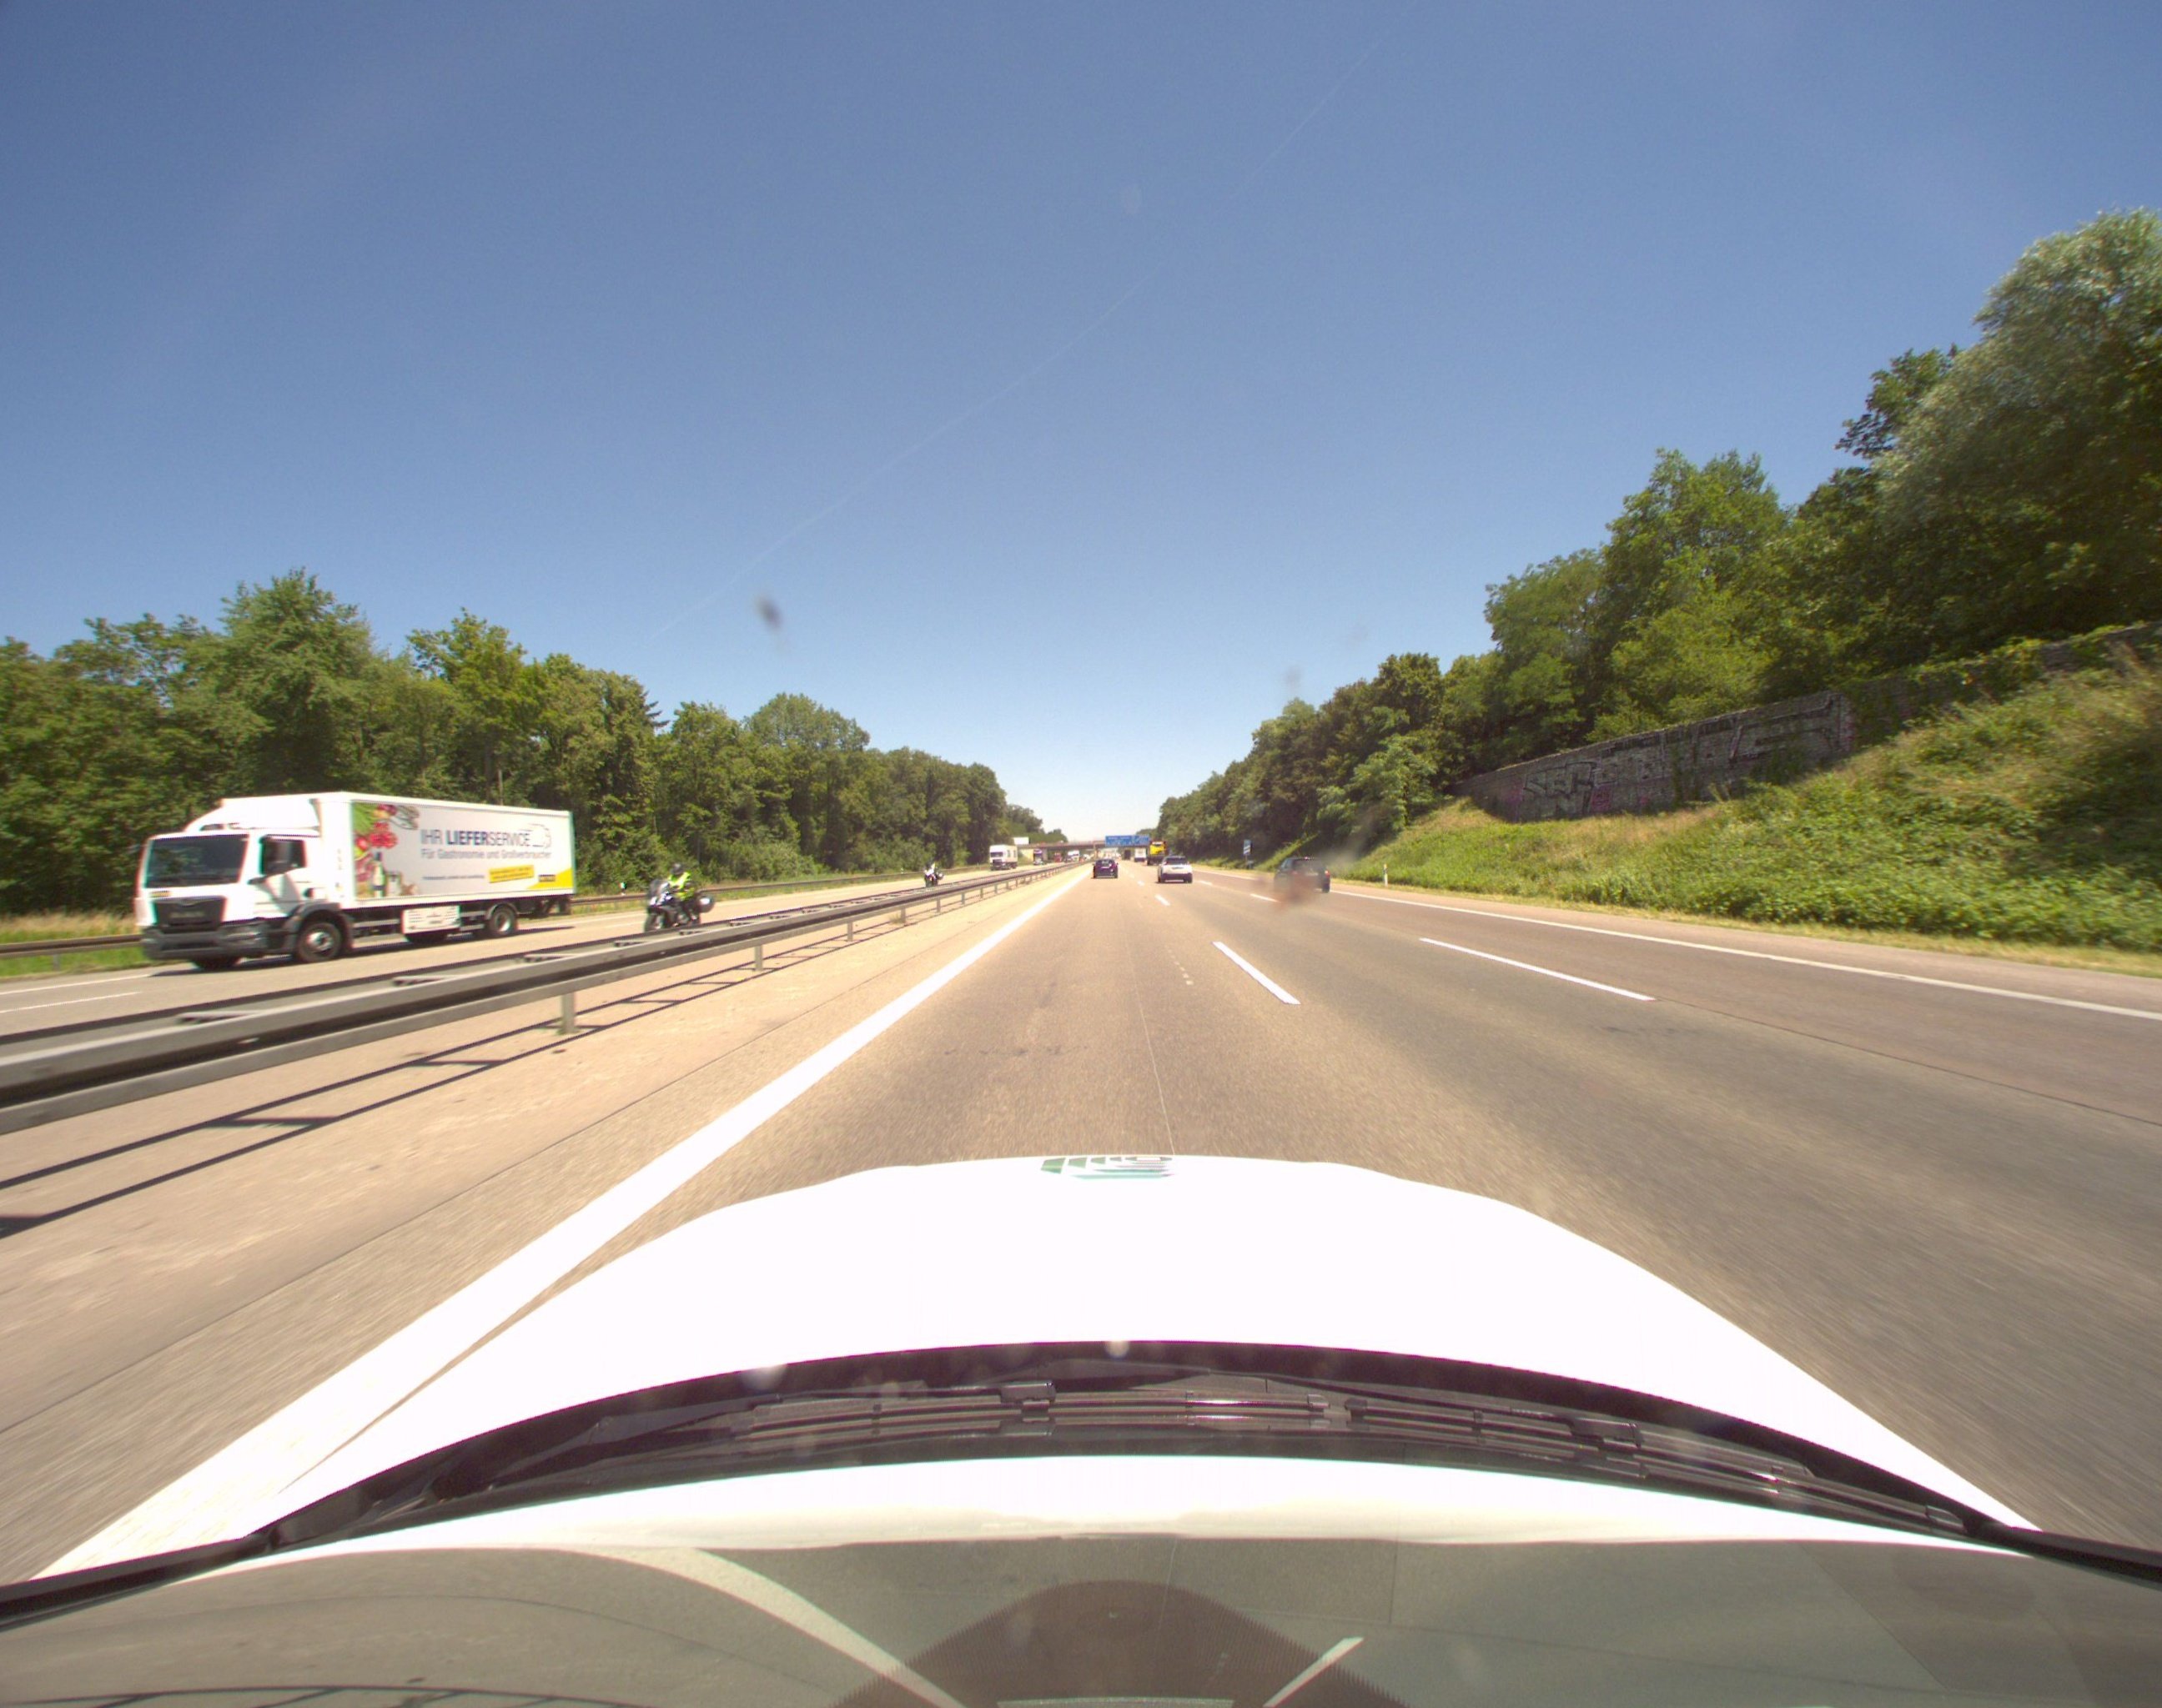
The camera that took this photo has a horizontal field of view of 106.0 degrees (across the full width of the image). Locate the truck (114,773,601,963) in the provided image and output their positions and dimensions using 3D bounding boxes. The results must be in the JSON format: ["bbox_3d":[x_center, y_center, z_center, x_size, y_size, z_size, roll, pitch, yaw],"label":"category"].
[{"bbox_3d":[-16.892,0.313,20.746,2.983,3.619,10.274,0,-1,2],"label":"truck"}]

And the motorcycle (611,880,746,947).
[{"bbox_3d":[-8.830,1.245,18.182,1.031,1.238,3.812,0,0,2],"label":"motorcycle"}]

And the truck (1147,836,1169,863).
[{"bbox_3d":[12.301,-0.661,131.252,2.963,4.037,10.986,0,0,2],"label":"truck"}]

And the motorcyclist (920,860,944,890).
[{"bbox_3d":[-7.990,1.119,43.742,1.037,1.599,1.151,0,-1,1],"label":"motorcyclist"}]

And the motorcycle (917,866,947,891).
[{"bbox_3d":[-7.974,1.285,43.727,1.031,1.267,2.578,0,-1,2],"label":"motorcycle"}]

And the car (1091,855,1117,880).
[{"bbox_3d":[1.700,0.971,59.023,1.820,1.706,4.001,0,-1,2],"label":"car"}]

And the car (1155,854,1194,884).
[{"bbox_3d":[5.418,0.855,47.613,1.820,1.608,4.810,-1,-1,2],"label":"car"}]

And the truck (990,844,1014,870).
[{"bbox_3d":[-12.938,0.510,133.865,2.571,4.008,10.342,0,-1,2],"label":"truck"}]

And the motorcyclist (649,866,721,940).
[{"bbox_3d":[-8.817,1.069,18.183,1.037,1.599,1.151,0,-1,1],"label":"motorcyclist"}]

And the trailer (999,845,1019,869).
[{"bbox_3d":[-12.623,0.543,143.278,2.569,3.989,8.562,0,-1,2],"label":"trailer"}]

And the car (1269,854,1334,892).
[{"bbox_3d":[9.201,0.764,34.327,1.663,1.447,4.575,0,0,2],"label":"car"}]

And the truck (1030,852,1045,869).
[{"bbox_3d":[-11.072,1.600,209.484,3.311,4.341,6.615,0,-1,2],"label":"truck"}]

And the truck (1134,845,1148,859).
[{"bbox_3d":[14.920,-0.459,200.999,3.013,3.319,10.789,0,0,6],"label":"truck"}]
